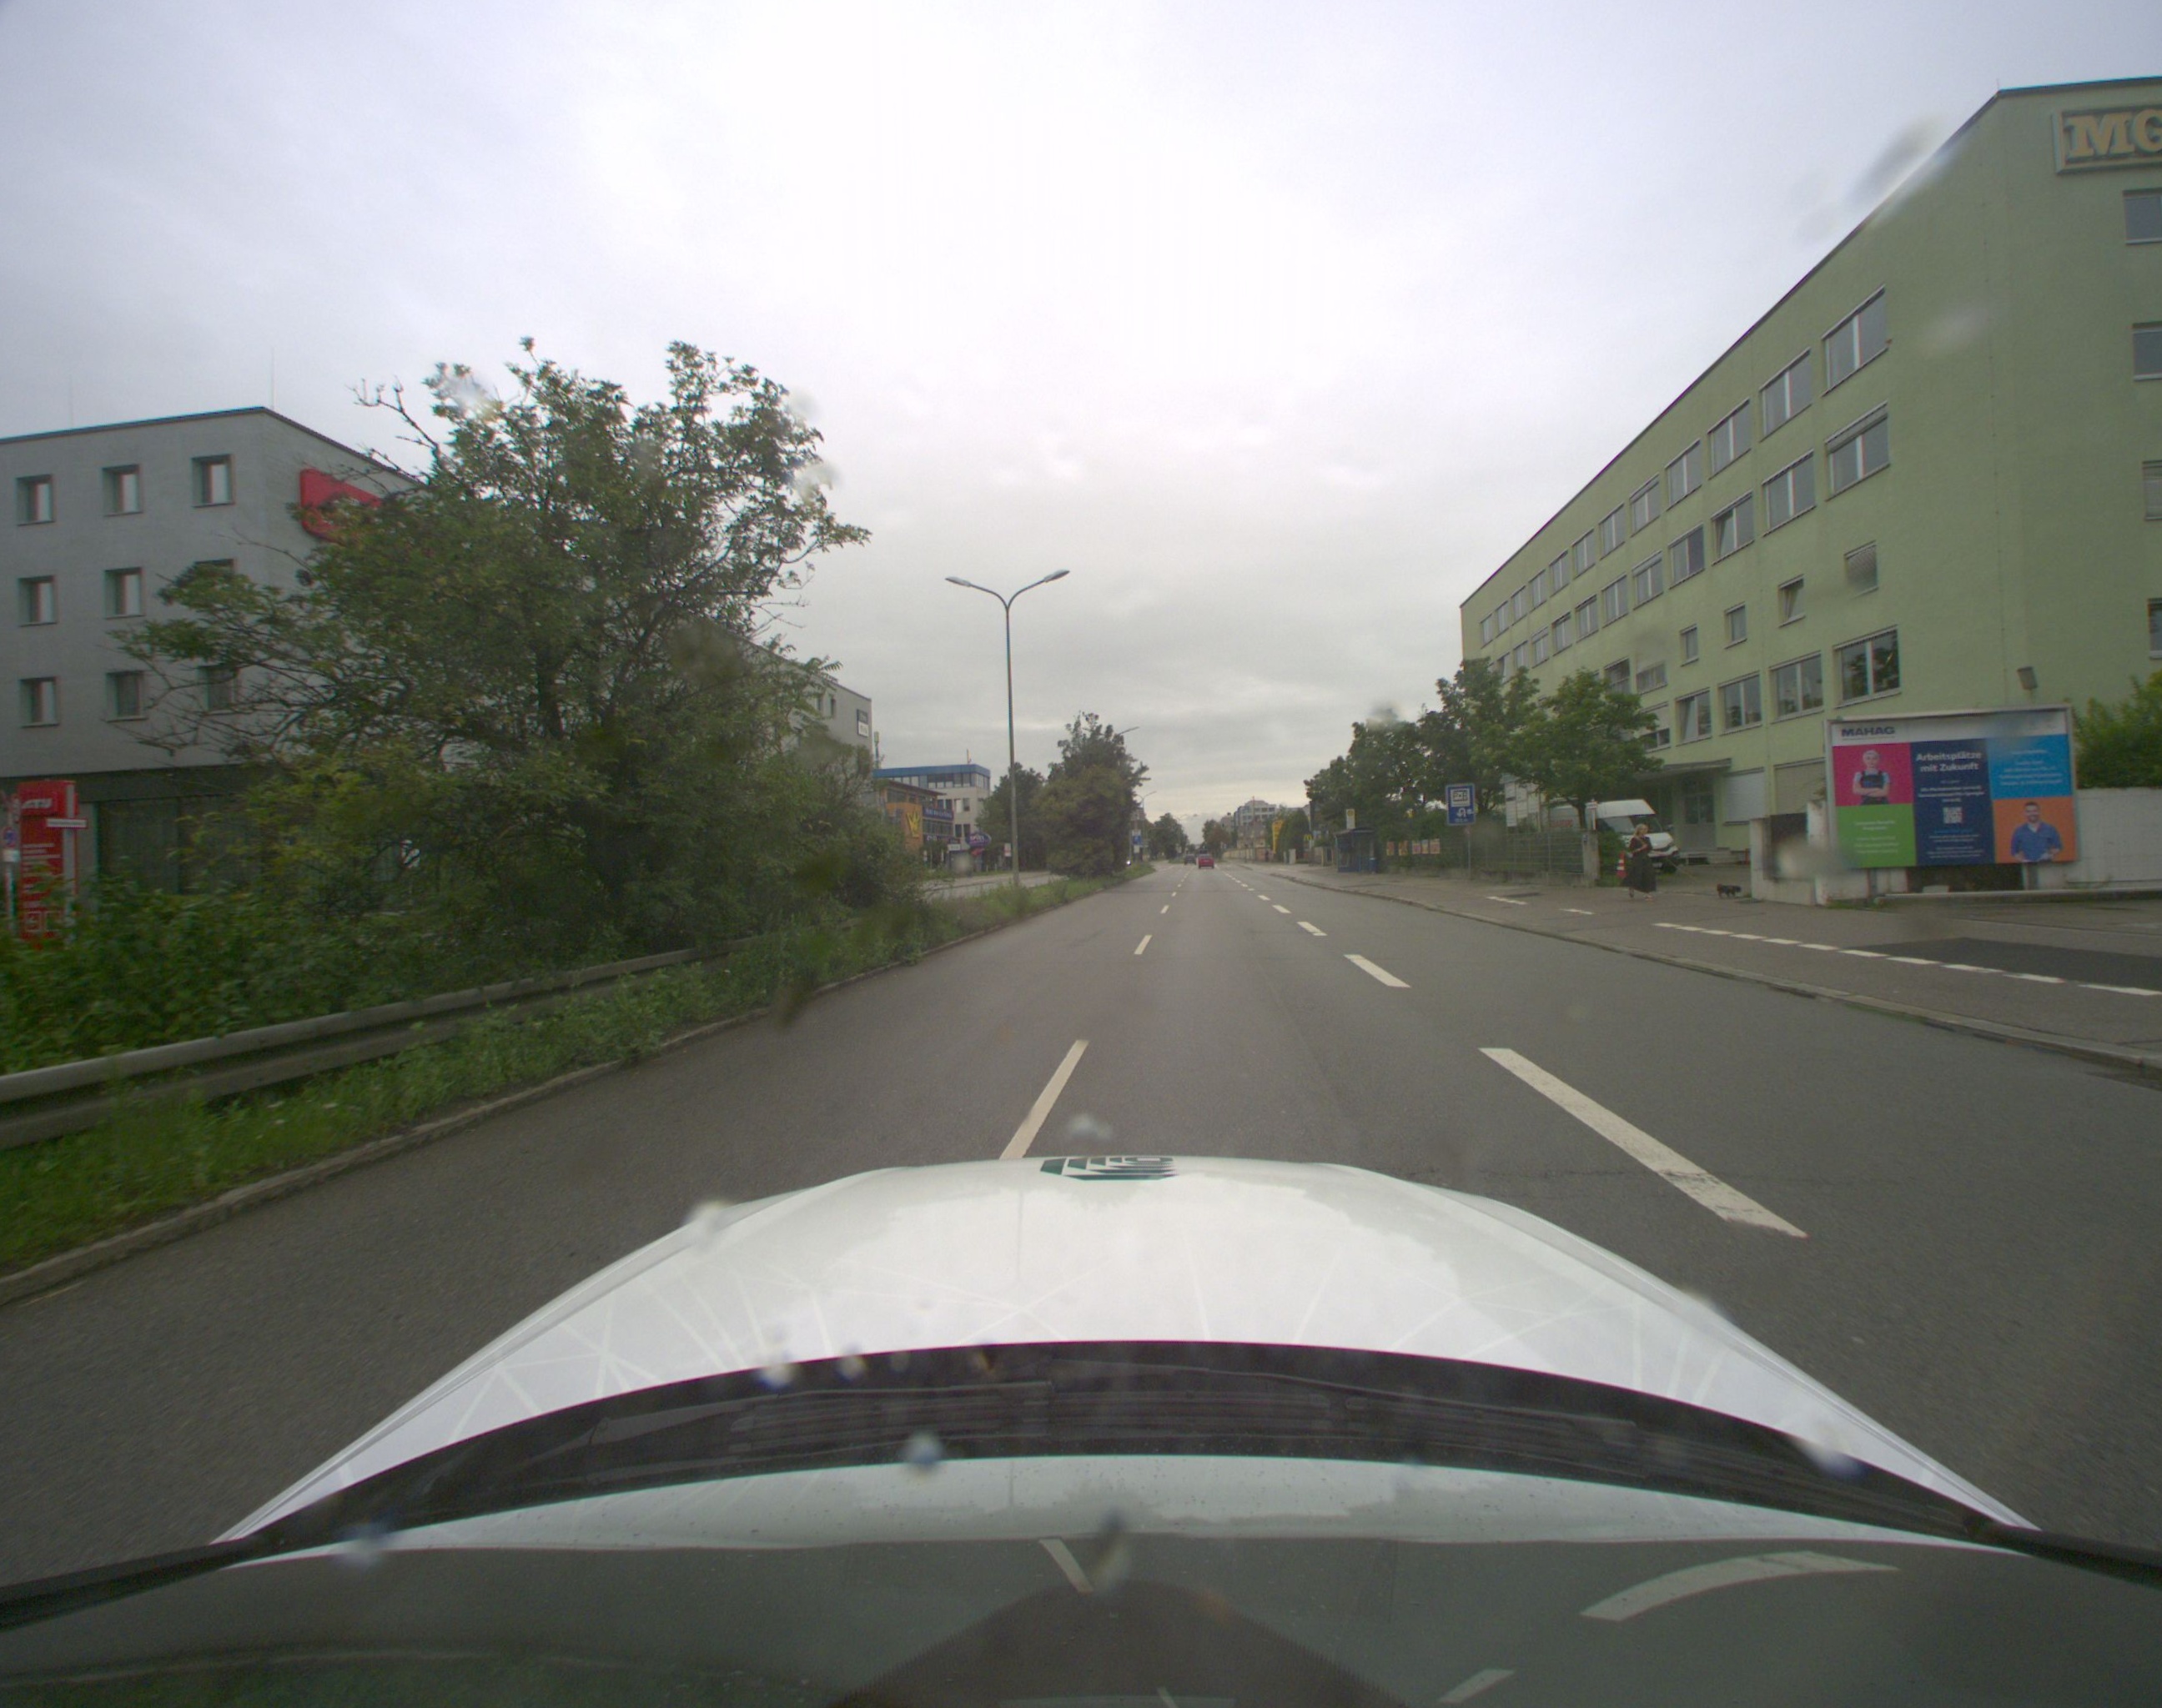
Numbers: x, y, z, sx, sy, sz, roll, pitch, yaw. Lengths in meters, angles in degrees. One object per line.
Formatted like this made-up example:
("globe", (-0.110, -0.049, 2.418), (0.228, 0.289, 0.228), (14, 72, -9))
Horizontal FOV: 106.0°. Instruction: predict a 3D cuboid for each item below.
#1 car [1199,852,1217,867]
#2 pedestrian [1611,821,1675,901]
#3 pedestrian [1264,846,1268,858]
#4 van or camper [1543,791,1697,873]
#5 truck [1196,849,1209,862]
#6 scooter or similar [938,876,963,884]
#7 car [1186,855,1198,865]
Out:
("car", (14.711, 0.685, 94.683), (1.853, 1.618, 4.006), (-2, -1, 6))
("pedestrian", (12.910, 0.158, 18.736), (0.754, 1.728, 0.897), (-6, -1, 7))
("pedestrian", (25.194, -0.292, 110.733), (0.480, 1.636, 0.592), (-2, -1, 13))
("van or camper", (18.920, -0.690, 29.124), (2.110, 2.497, 7.415), (-2, 0, 13))
("truck", (33.309, 0.345, 223.215), (2.954, 3.285, 7.929), (-2, 0, 6))
("scooter or similar", (-10.436, 2.088, 65.168), (1.460, 0.585, 2.323), (-3, -3, 5))
("car", (17.976, 0.978, 132.138), (1.794, 1.432, 4.007), (-2, 0, 6))
